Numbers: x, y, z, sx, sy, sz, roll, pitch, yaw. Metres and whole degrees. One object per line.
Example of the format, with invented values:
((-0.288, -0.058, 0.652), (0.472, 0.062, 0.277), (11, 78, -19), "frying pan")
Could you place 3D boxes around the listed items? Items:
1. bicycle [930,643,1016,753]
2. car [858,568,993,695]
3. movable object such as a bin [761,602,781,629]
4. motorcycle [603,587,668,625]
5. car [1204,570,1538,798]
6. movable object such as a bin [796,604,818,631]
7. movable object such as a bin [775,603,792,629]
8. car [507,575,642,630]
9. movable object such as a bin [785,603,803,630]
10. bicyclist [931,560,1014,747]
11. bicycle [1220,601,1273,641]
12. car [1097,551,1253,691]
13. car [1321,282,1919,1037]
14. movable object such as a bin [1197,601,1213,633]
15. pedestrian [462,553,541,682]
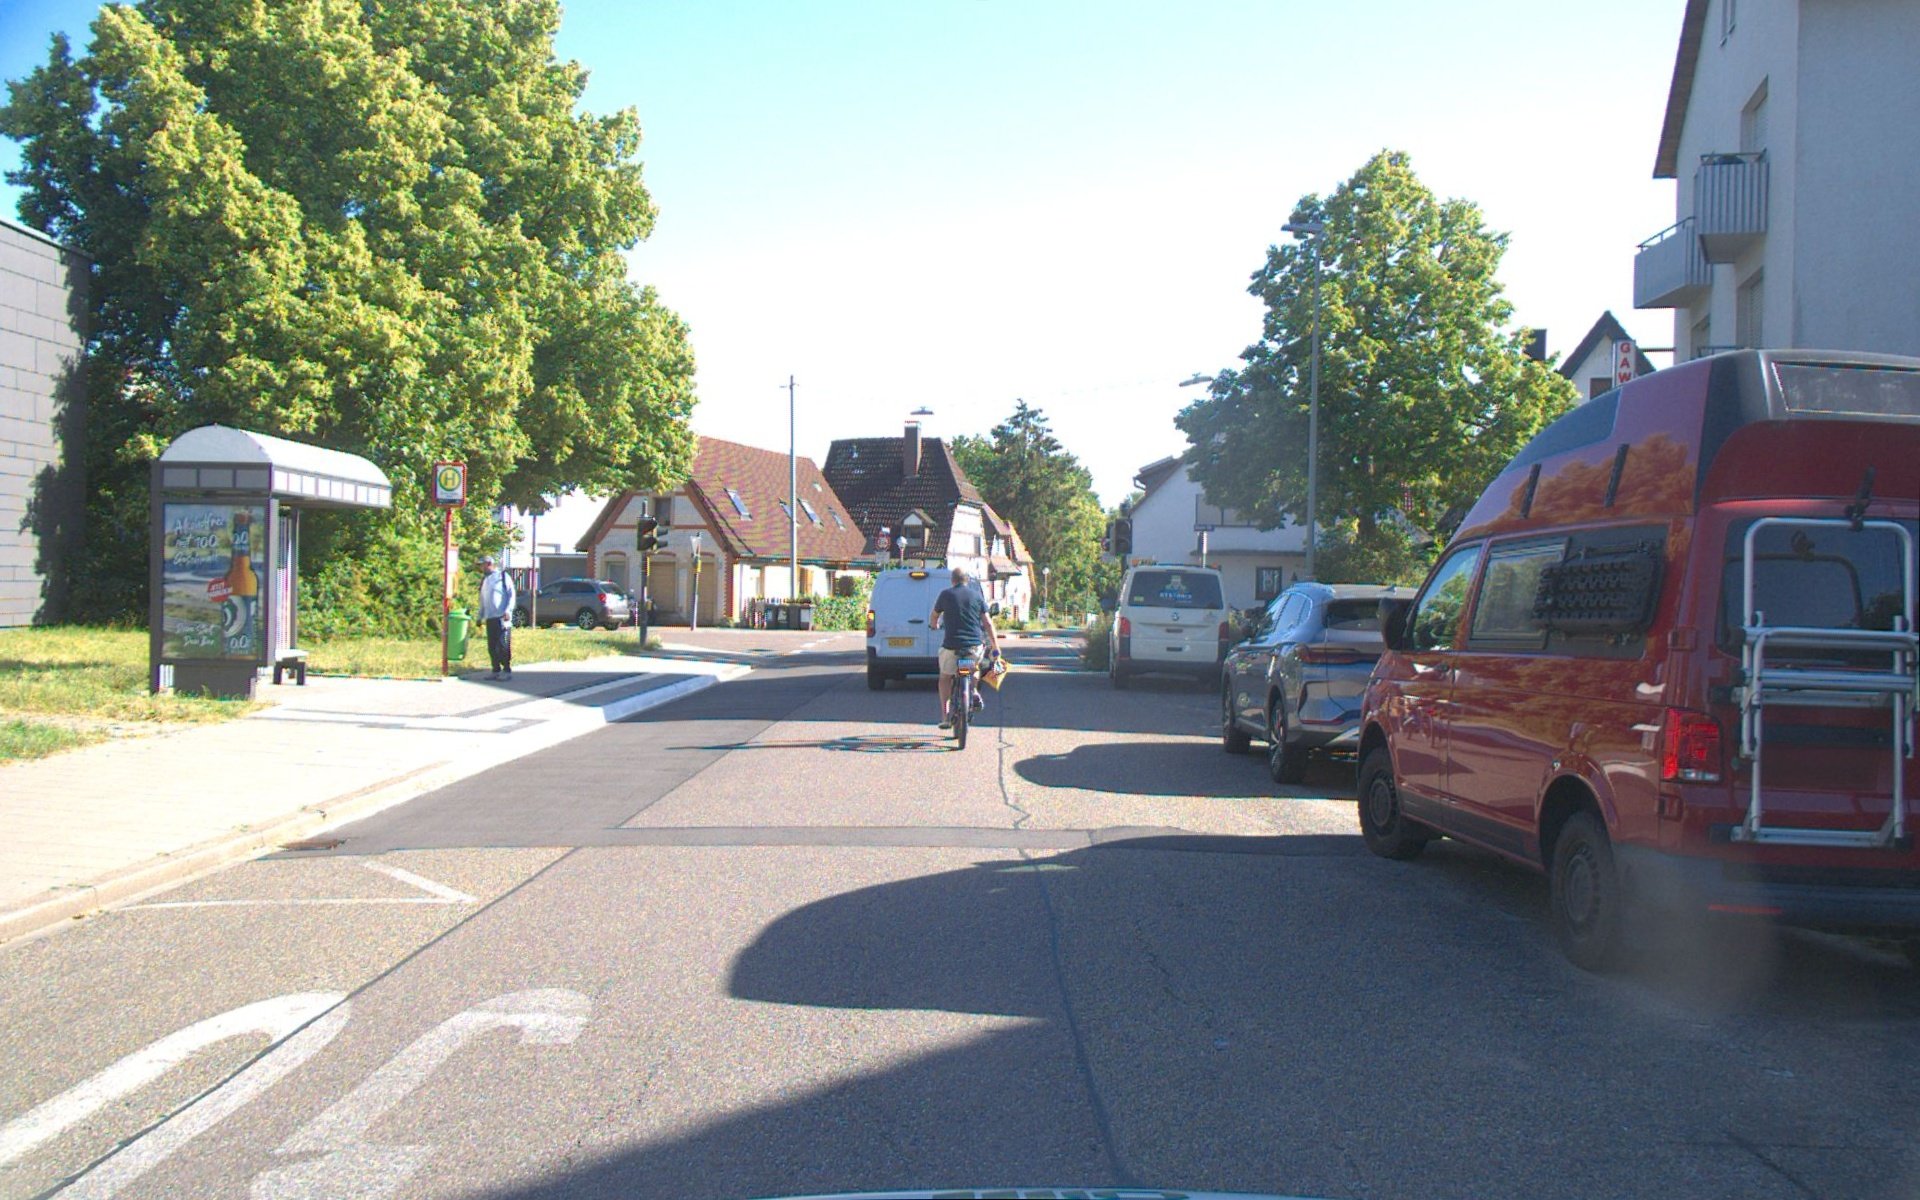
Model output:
((0.099, 0.951, 16.697), (0.759, 0.956, 2.290), (0, 0, -2), "bicycle")
((-0.471, 0.432, 26.954), (1.916, 1.880, 4.562), (1, 1, 2), "car")
((-6.894, 0.565, 60.358), (0.497, 0.941, 0.626), (1, 0, 19), "movable object such as a bin")
((-11.918, 0.220, 60.767), (2.196, 1.317, 0.883), (1, 3, 20), "motorcycle")
((3.631, 0.664, 15.545), (1.917, 1.768, 4.576), (2, 0, -1), "car")
((-5.536, 0.627, 59.841), (0.544, 0.941, 0.626), (1, 0, 19), "movable object such as a bin")
((-6.421, 0.590, 60.154), (0.404, 0.921, 0.626), (1, 1, 19), "movable object such as a bin")
((-13.336, 0.096, 57.278), (4.134, 1.755, 1.945), (2, 0, 21), "car")
((-6.010, 0.588, 60.010), (0.402, 0.941, 0.626), (1, 0, 19), "movable object such as a bin")
((0.114, 0.524, 16.670), (0.749, 1.820, 0.852), (2, 0, -2), "bicyclist")
((9.649, 0.711, 55.724), (1.700, 1.306, 0.701), (2, -1, 10), "bicycle")
((3.547, 0.338, 28.112), (1.953, 2.115, 4.577), (2, 0, -1), "car")
((3.540, 0.217, 8.588), (1.918, 2.690, 5.221), (2, 0, -2), "car")
((8.955, 0.611, 60.518), (0.515, 1.142, 0.749), (1, 0, 11), "movable object such as a bin")
((-6.724, 0.251, 24.285), (0.702, 1.834, 0.770), (3, 1, 25), "pedestrian")
